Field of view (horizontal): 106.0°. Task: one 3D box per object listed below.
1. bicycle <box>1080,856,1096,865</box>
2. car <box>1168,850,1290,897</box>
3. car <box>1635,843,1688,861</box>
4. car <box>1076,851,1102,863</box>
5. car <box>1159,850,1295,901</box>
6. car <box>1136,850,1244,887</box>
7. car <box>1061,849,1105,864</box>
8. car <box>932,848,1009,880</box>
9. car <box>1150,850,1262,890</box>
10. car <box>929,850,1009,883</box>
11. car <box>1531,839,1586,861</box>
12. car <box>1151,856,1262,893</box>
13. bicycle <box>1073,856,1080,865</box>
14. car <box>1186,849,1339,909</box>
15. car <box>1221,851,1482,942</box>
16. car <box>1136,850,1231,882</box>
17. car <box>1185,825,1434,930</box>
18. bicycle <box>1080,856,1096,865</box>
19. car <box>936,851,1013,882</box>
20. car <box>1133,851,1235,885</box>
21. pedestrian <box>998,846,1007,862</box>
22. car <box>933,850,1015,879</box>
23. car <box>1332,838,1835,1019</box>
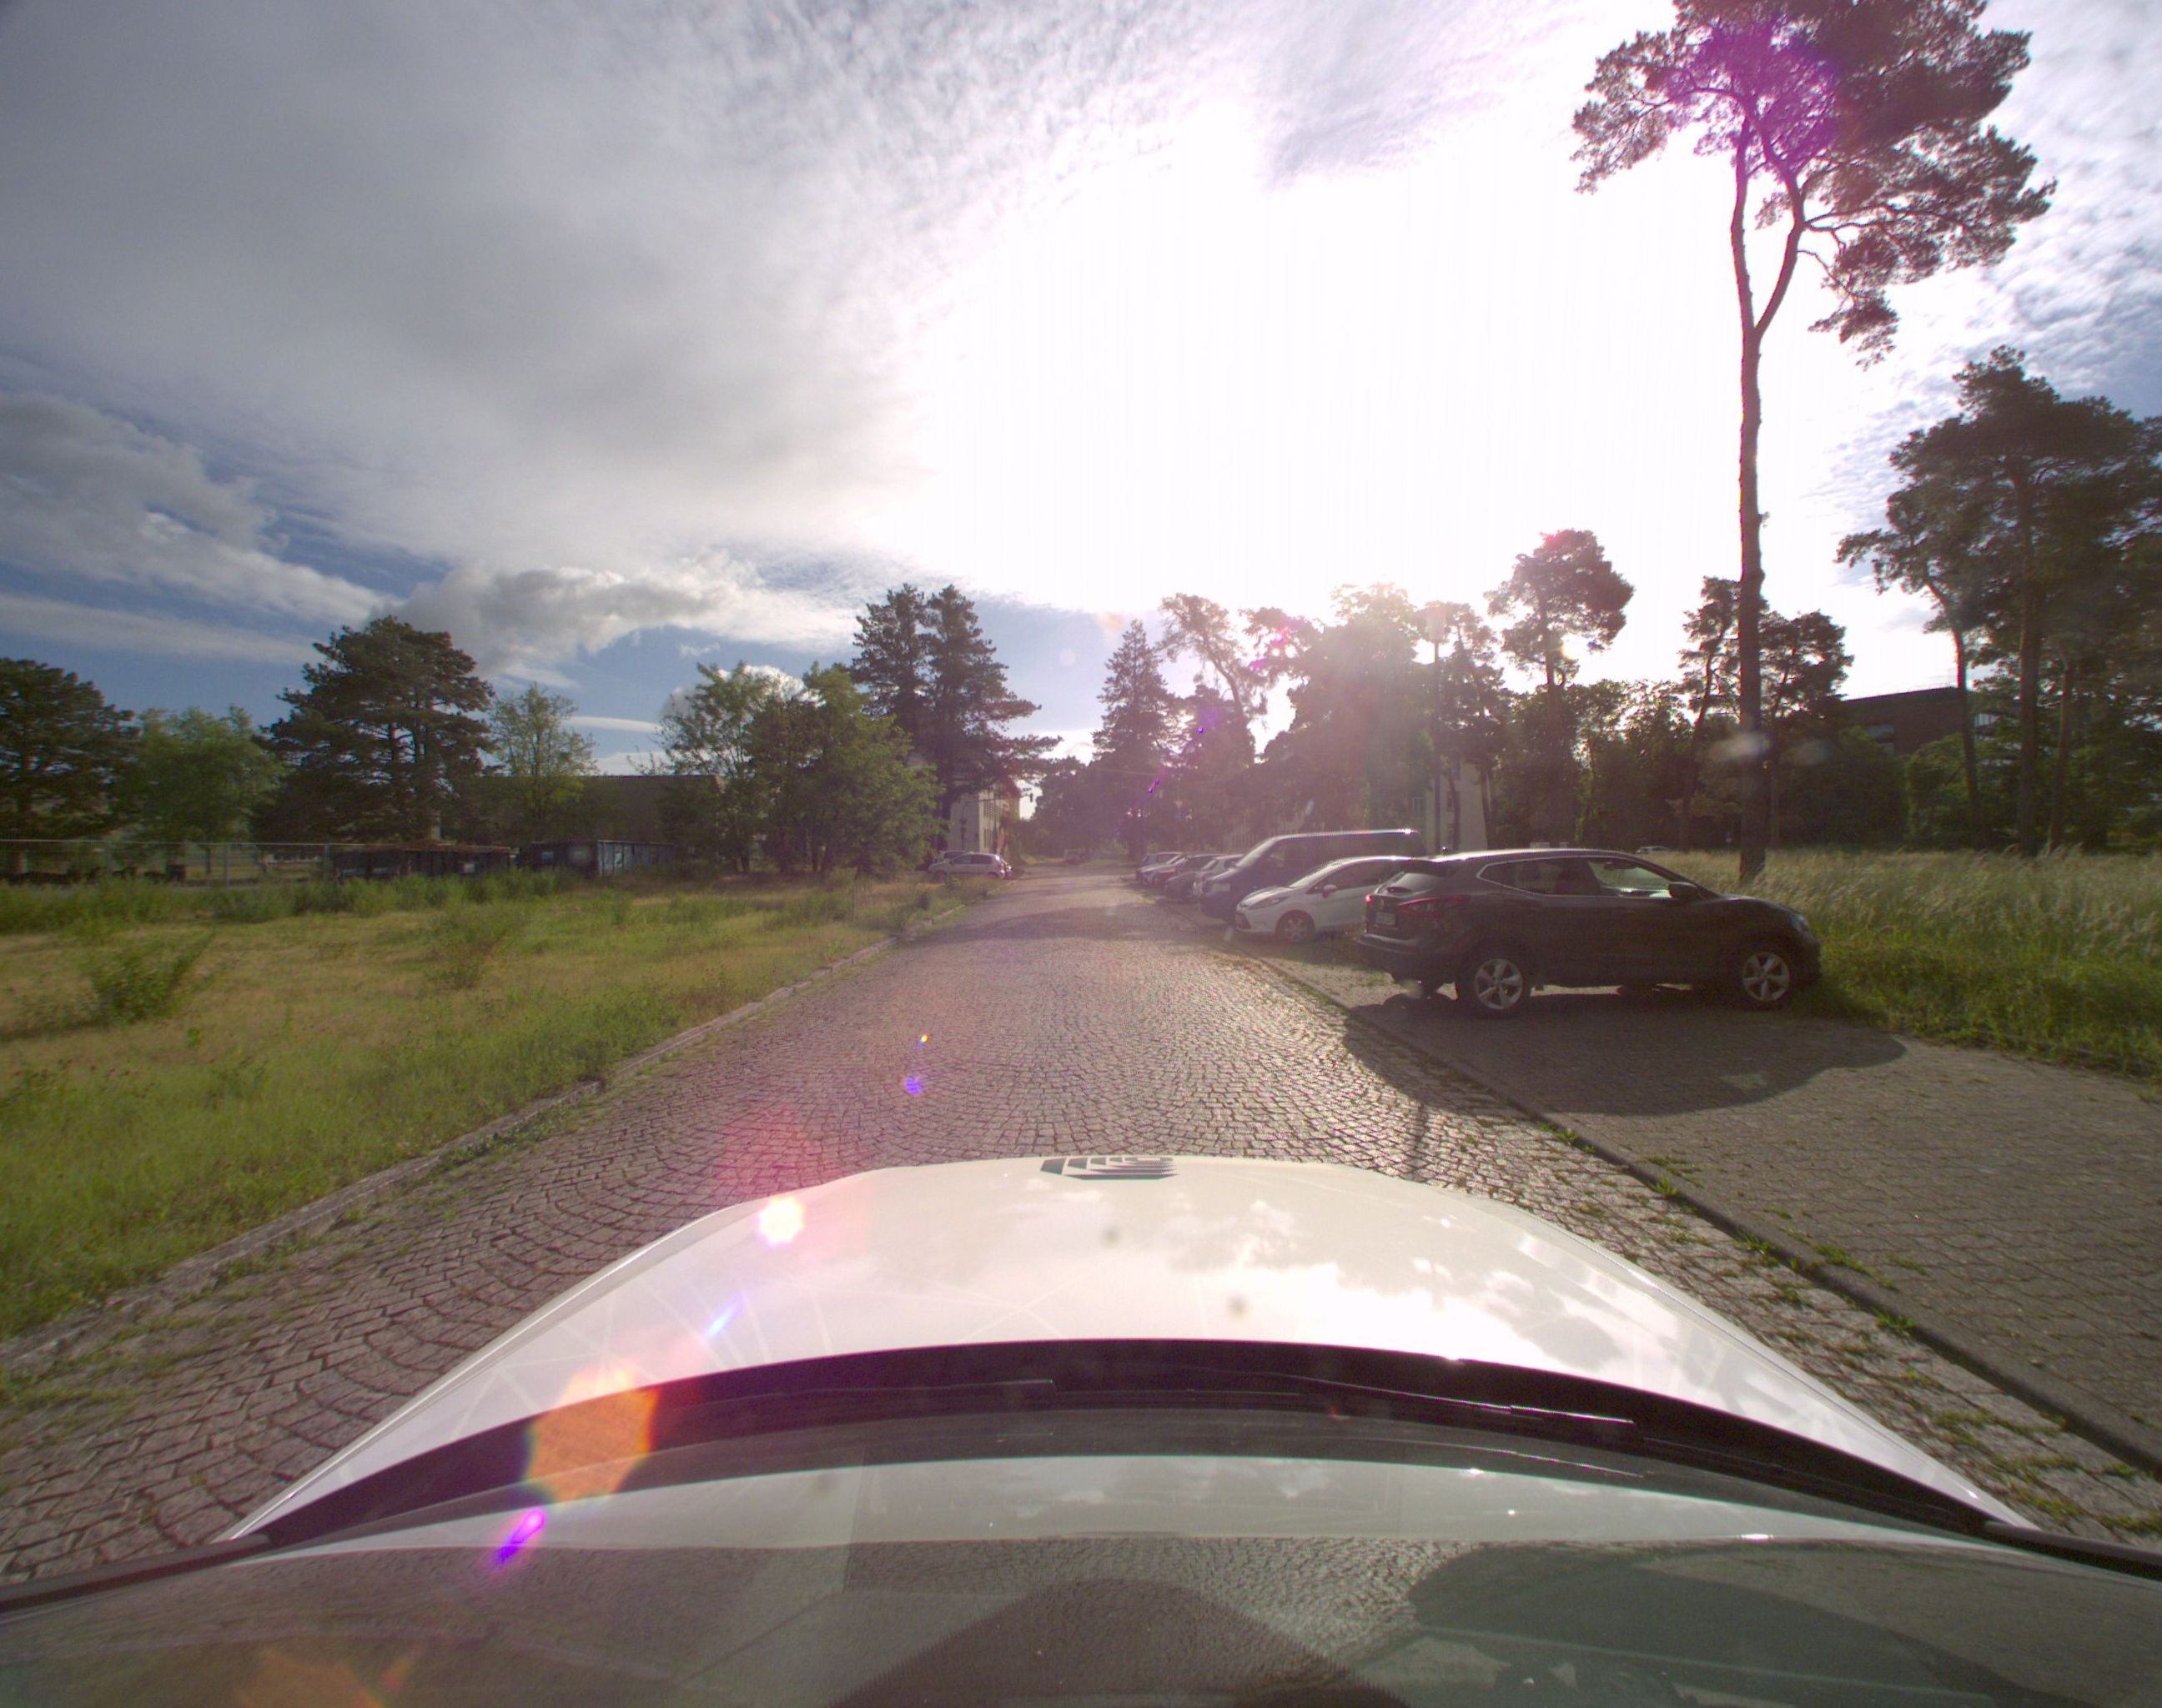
[{"bbox_3d":[0.775,0.705,93.282,1.788,0.999,0.644,-1,1,-3],"label":"bicycle"},{"bbox_3d":[5.129,0.672,28.606,3.939,1.495,1.771,-1,-1,-1],"label":"car"},{"bbox_3d":[56.699,-0.216,79.558,3.923,1.679,1.854,0,-1,-3],"label":"car"},{"bbox_3d":[0.984,0.409,104.636,3.036,1.465,1.712,0,-1,-14],"label":"car"},{"bbox_3d":[4.527,0.671,25.668,3.939,1.467,1.830,-1,-1,-1],"label":"car"},{"bbox_3d":[4.752,0.641,35.882,4.494,1.473,1.848,-1,-1,-2],"label":"car"},{"bbox_3d":[0.269,0.314,108.185,5.510,1.916,2.243,0,-1,-15],"label":"car"},{"bbox_3d":[-6.134,0.564,45.471,4.115,1.600,1.855,2,-1,-6],"label":"car"},{"bbox_3d":[5.118,0.649,33.621,4.329,1.473,1.739,-1,-1,-2],"label":"car"},{"bbox_3d":[-5.479,0.621,40.139,3.674,1.473,1.848,2,-1,-3],"label":"car"},{"bbox_3d":[56.005,-0.504,95.648,5.141,2.536,2.264,0,-1,0],"label":"car"},{"bbox_3d":[4.758,0.773,31.234,3.939,1.261,1.726,-1,-1,-1],"label":"car"},{"bbox_3d":[-0.530,0.713,88.639,0.726,0.999,1.798,-1,1,-1],"label":"bicycle"},{"bbox_3d":[5.006,0.670,22.823,3.863,1.530,1.807,-1,-1,-1],"label":"car"},{"bbox_3d":[4.853,0.733,14.955,4.183,1.470,1.805,-1,-1,-5],"label":"car"},{"bbox_3d":[5.142,0.591,41.296,4.533,1.505,1.931,-1,-1,-3],"label":"car"},{"bbox_3d":[4.764,0.481,17.466,4.720,1.928,1.991,-2,-1,-2],"label":"car"},{"bbox_3d":[0.791,0.696,92.262,1.788,0.999,0.644,-1,1,-3],"label":"bicycle"},{"bbox_3d":[-5.550,0.642,42.792,3.818,1.429,1.857,2,-1,-2],"label":"car"},{"bbox_3d":[4.826,0.639,38.663,4.499,1.473,1.892,-1,-1,-5],"label":"car"},{"bbox_3d":[-10.037,-0.005,104.341,0.982,1.963,0.932,0,-1,-2],"label":"pedestrian"},{"bbox_3d":[-6.256,0.610,48.010,4.577,1.455,1.901,2,1,-4],"label":"car"},{"bbox_3d":[5.046,0.697,8.605,4.180,1.589,1.876,-1,-1,-2],"label":"car"}]
